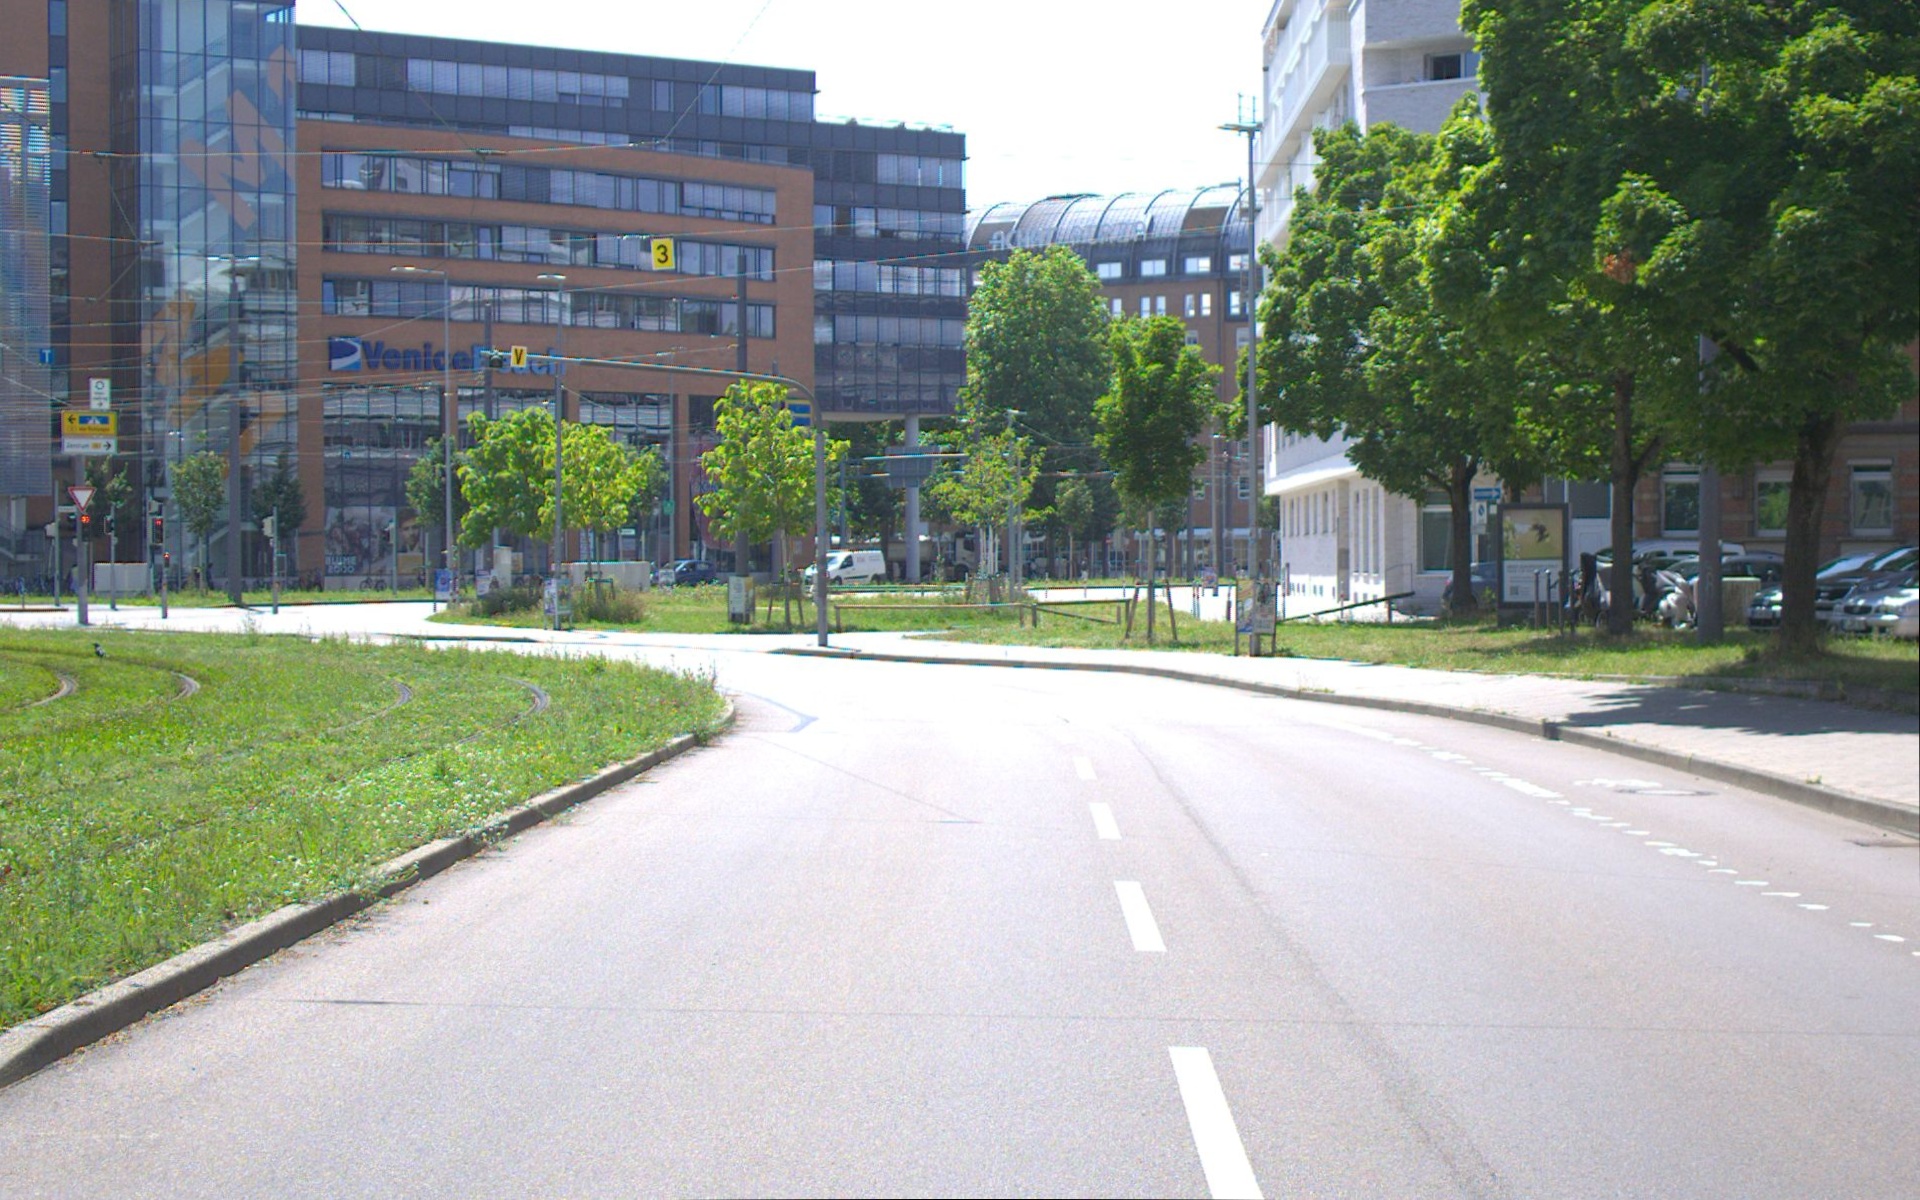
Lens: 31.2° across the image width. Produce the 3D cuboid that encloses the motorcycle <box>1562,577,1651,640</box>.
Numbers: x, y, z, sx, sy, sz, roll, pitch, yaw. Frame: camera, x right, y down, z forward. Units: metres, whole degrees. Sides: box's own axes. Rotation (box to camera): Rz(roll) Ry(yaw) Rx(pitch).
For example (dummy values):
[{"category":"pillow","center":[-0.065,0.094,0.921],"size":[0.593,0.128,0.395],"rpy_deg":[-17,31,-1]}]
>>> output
[{"category":"motorcycle","center":[11.721,0.157,62.338],"size":[1.520,1.116,0.478],"rpy_deg":[1,0,1]}]

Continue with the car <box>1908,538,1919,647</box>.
[{"category":"car","center":[13.975,-0.045,41.019],"size":[4.770,1.309,2.150],"rpy_deg":[1,1,-20]}]

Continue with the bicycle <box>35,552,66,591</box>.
[{"category":"bicycle","center":[-41.282,-1.312,156.048],"size":[0.598,1.725,2.260],"rpy_deg":[1,1,-35]}]

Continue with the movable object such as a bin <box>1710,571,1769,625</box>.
[{"category":"movable object such as a bin","center":[13.657,-0.037,60.226],"size":[0.986,0.934,0.701],"rpy_deg":[1,0,13]}]

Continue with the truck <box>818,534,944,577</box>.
[{"category":"truck","center":[-5.540,-3.111,239.705],"size":[9.227,2.799,1.996],"rpy_deg":[1,1,33]}]

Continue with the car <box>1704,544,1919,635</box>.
[{"category":"car","center":[14.020,-0.160,54.260],"size":[4.333,1.371,1.583],"rpy_deg":[1,1,-25]}]

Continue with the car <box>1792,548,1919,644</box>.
[{"category":"car","center":[14.062,-0.048,48.665],"size":[3.986,1.309,1.973],"rpy_deg":[1,1,-20]}]

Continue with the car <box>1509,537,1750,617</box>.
[{"category":"car","center":[14.170,-0.482,72.744],"size":[4.857,1.595,1.836],"rpy_deg":[1,1,-26]}]

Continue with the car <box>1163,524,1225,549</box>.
[{"category":"car","center":[16.721,-4.543,245.619],"size":[3.994,1.722,1.863],"rpy_deg":[1,1,32]}]

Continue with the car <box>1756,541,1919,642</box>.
[{"category":"car","center":[14.201,-0.118,51.732],"size":[4.078,1.465,1.798],"rpy_deg":[1,1,-26]}]

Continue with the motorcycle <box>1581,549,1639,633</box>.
[{"category":"motorcycle","center":[11.111,-0.164,58.808],"size":[0.675,1.408,1.856],"rpy_deg":[-1,1,2]}]
